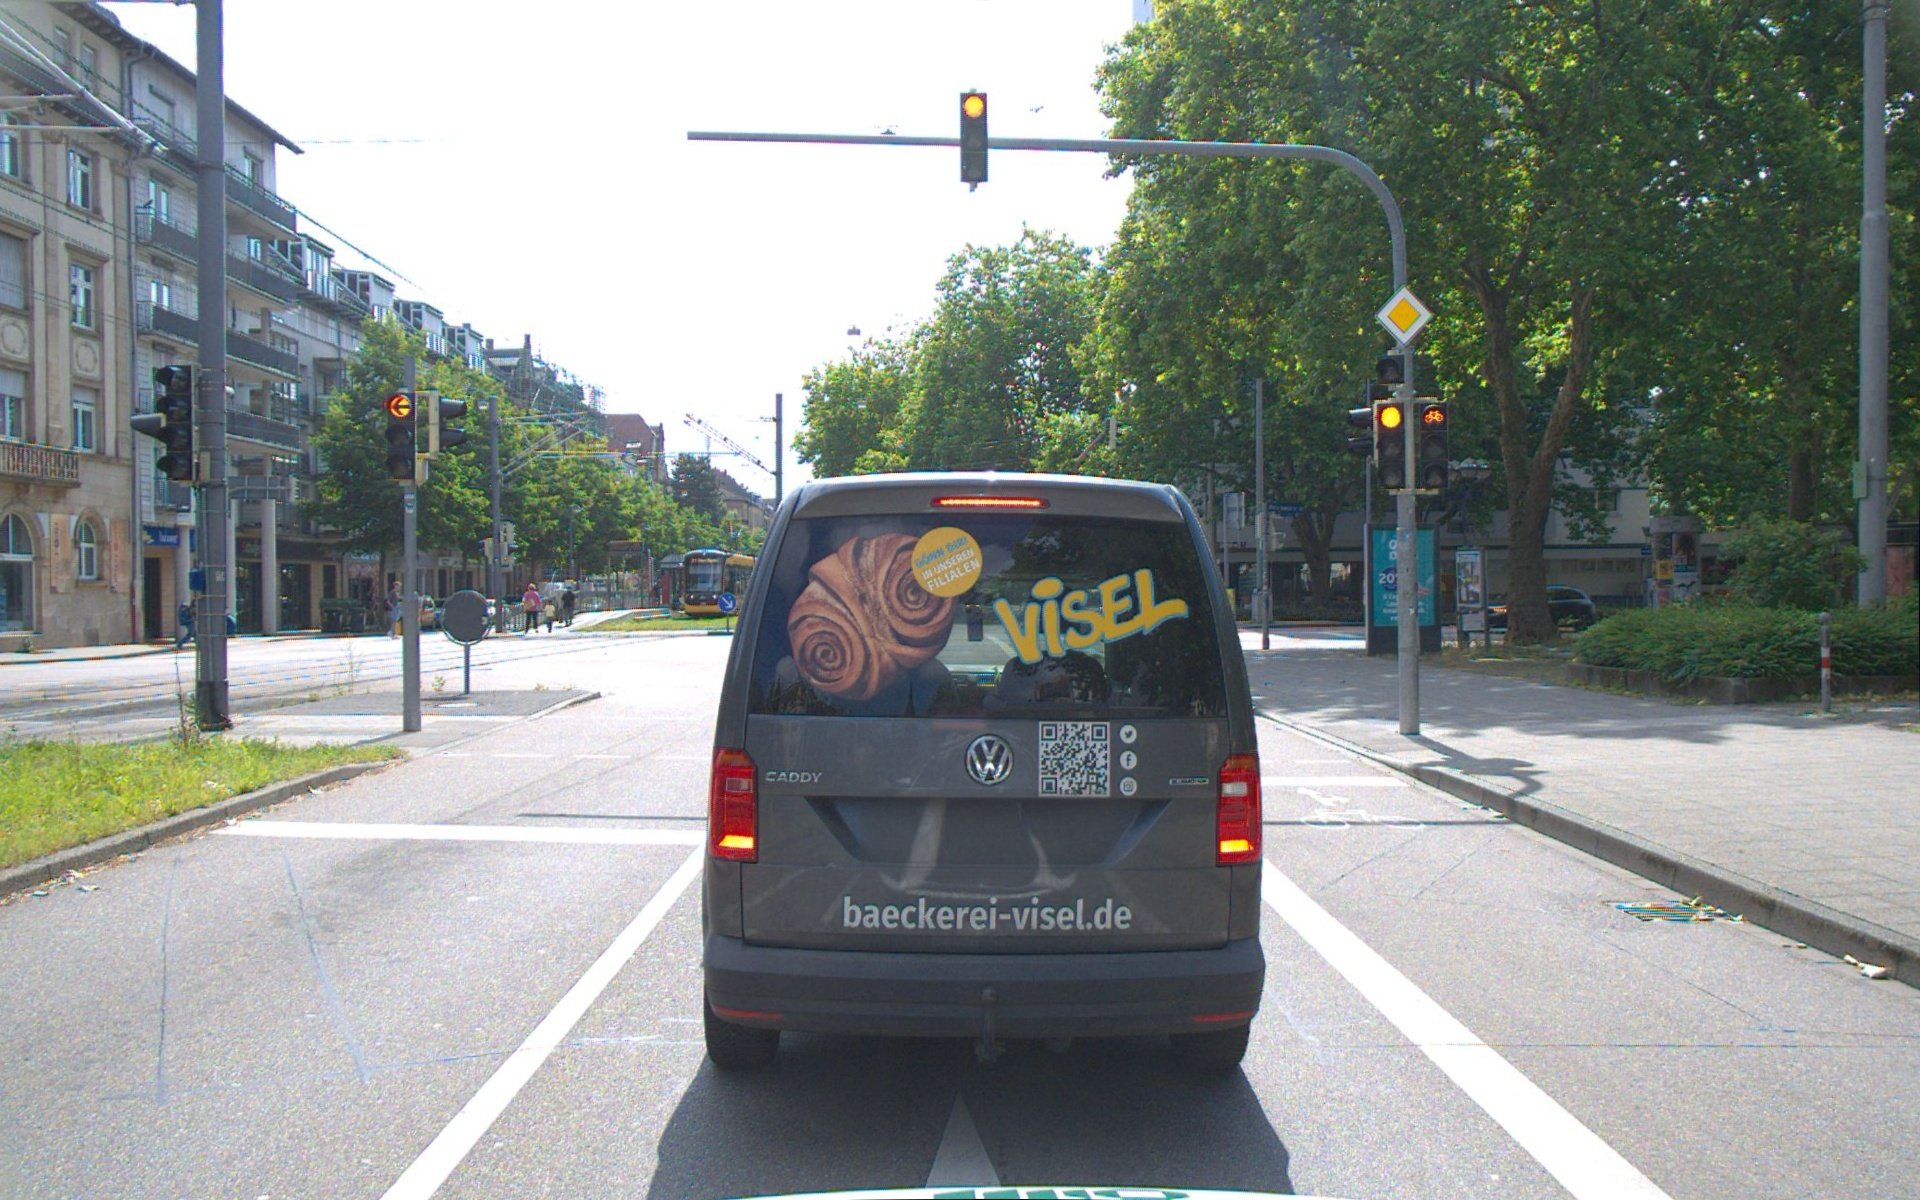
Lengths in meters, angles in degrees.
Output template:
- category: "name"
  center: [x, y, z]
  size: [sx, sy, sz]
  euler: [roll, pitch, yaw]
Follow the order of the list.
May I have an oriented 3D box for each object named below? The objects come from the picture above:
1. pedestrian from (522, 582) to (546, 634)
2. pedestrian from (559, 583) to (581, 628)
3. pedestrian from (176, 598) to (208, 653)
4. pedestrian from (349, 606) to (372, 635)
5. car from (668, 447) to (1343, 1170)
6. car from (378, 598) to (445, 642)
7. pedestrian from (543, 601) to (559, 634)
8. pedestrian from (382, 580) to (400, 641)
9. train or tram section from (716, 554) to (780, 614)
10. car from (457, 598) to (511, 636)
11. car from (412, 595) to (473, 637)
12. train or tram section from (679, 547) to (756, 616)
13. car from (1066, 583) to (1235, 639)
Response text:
- category: "pedestrian"
  center: [-14.973, 0.286, 58.151]
  size: [0.646, 1.815, 0.660]
  euler: [-1, 0, -1]
- category: "pedestrian"
  center: [-14.888, 0.200, 63.148]
  size: [0.646, 1.714, 0.655]
  euler: [-1, 0, -1]
- category: "pedestrian"
  center: [-23.446, 0.772, 50.486]
  size: [0.849, 1.623, 0.688]
  euler: [-1, 0, -27]
- category: "pedestrian"
  center: [-25.987, 0.883, 71.680]
  size: [0.738, 1.233, 0.704]
  euler: [-1, 0, -1]
- category: "car"
  center: [0.105, 0.522, 5.977]
  size: [1.715, 1.840, 3.474]
  euler: [1, 0, -1]
- category: "car"
  center: [-26.949, 0.959, 81.372]
  size: [1.953, 2.049, 3.999]
  euler: [-1, 0, -1]
- category: "pedestrian"
  center: [-14.380, 0.607, 58.119]
  size: [0.454, 1.164, 0.435]
  euler: [-1, 0, -1]
- category: "pedestrian"
  center: [-19.252, 0.354, 55.977]
  size: [0.468, 2.049, 0.419]
  euler: [-1, 0, -6]
- category: "train or tram section"
  center: [-12.887, -1.007, 101.658]
  size: [2.195, 3.389, 14.012]
  euler: [-1, 1, 0]
- category: "car"
  center: [-27.212, 0.931, 94.667]
  size: [1.953, 2.049, 3.999]
  euler: [-1, 0, -1]
- category: "car"
  center: [-26.920, 0.816, 86.164]
  size: [1.953, 2.049, 3.999]
  euler: [-1, 0, -1]
- category: "train or tram section"
  center: [-12.777, -0.971, 88.150]
  size: [2.195, 3.389, 12.970]
  euler: [-1, 1, 0]
- category: "car"
  center: [5.272, 0.273, 45.658]
  size: [4.423, 1.414, 1.693]
  euler: [-1, 0, -25]
